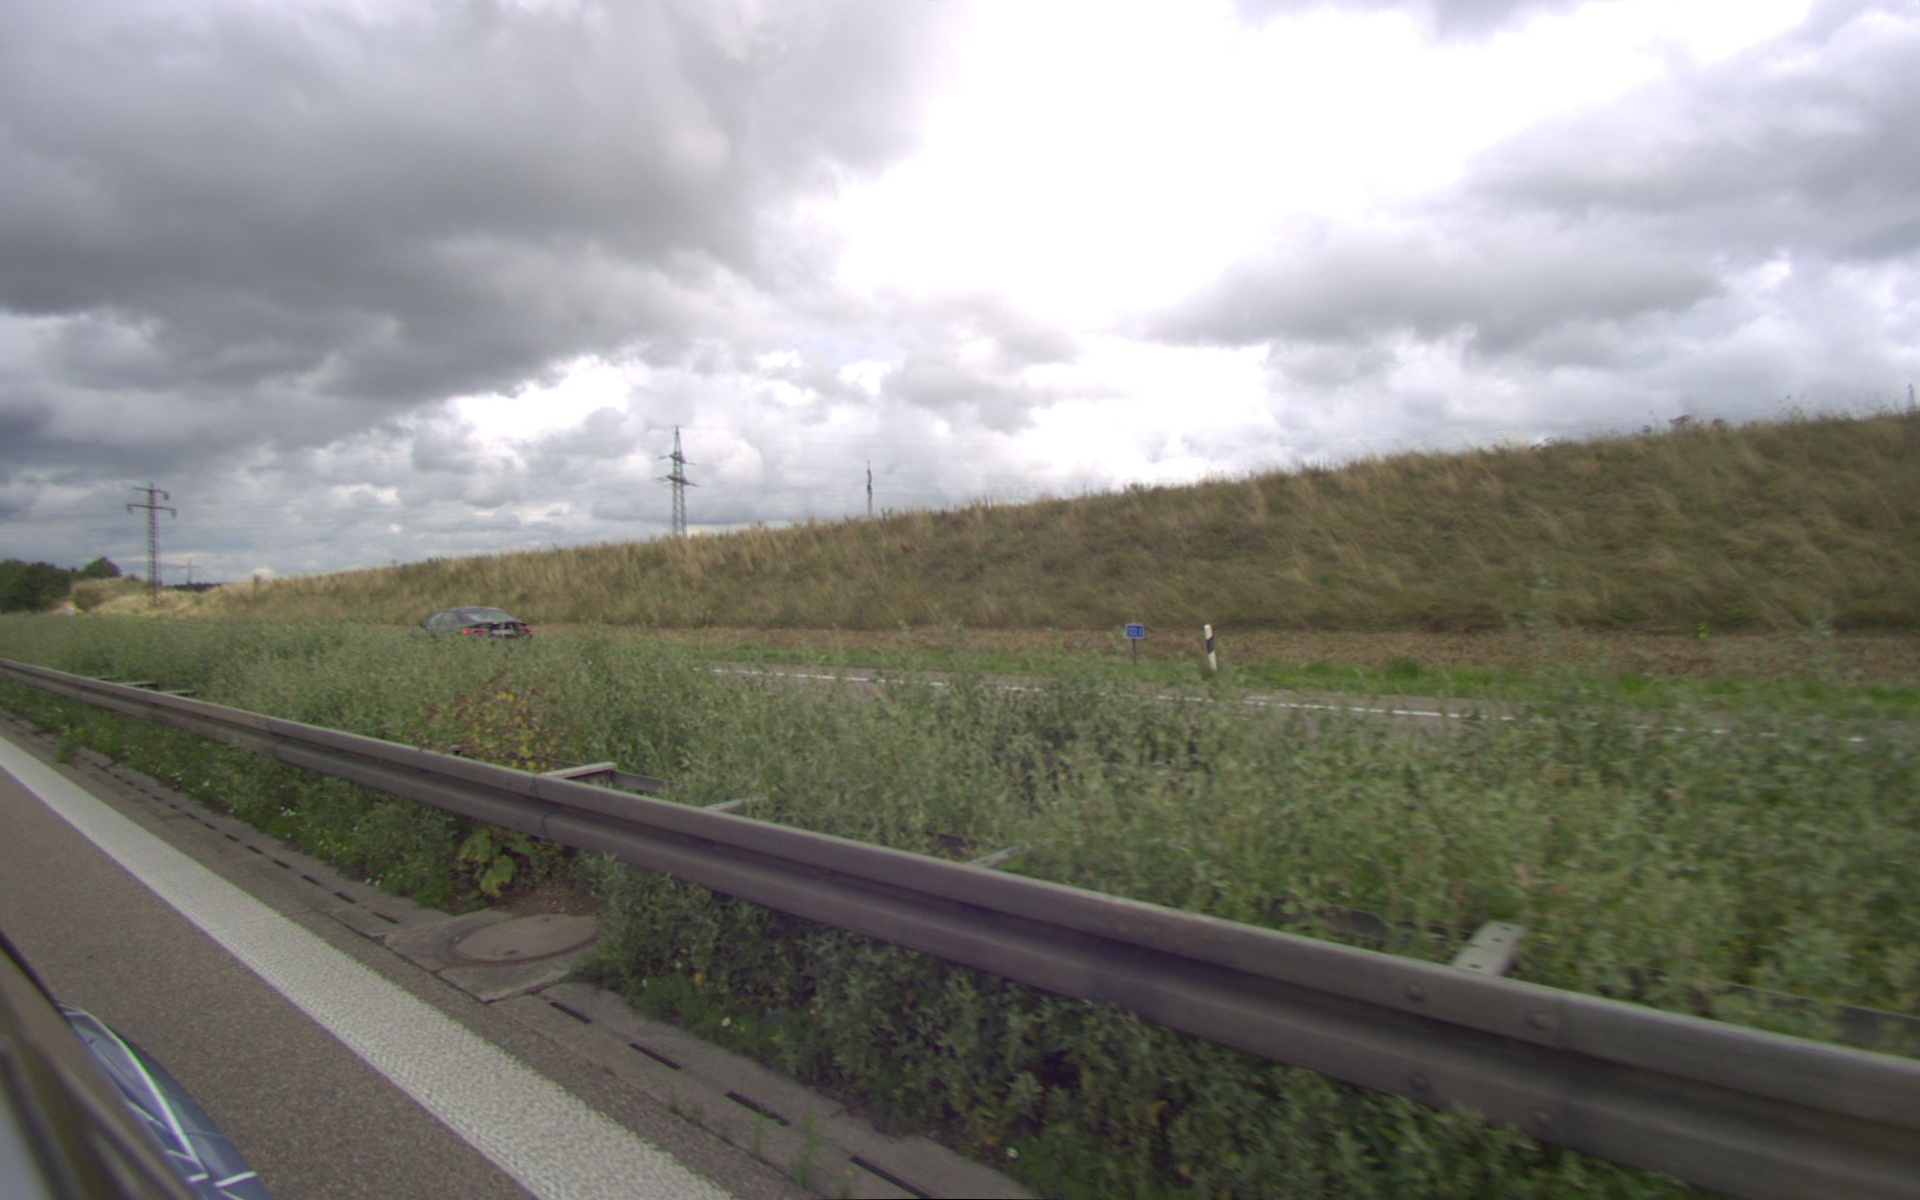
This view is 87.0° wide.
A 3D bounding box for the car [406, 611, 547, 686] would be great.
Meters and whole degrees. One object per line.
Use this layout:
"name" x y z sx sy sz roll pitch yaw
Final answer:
"car" -12.282 1.151 25.610 3.999 1.715 1.797 -1 0 42
